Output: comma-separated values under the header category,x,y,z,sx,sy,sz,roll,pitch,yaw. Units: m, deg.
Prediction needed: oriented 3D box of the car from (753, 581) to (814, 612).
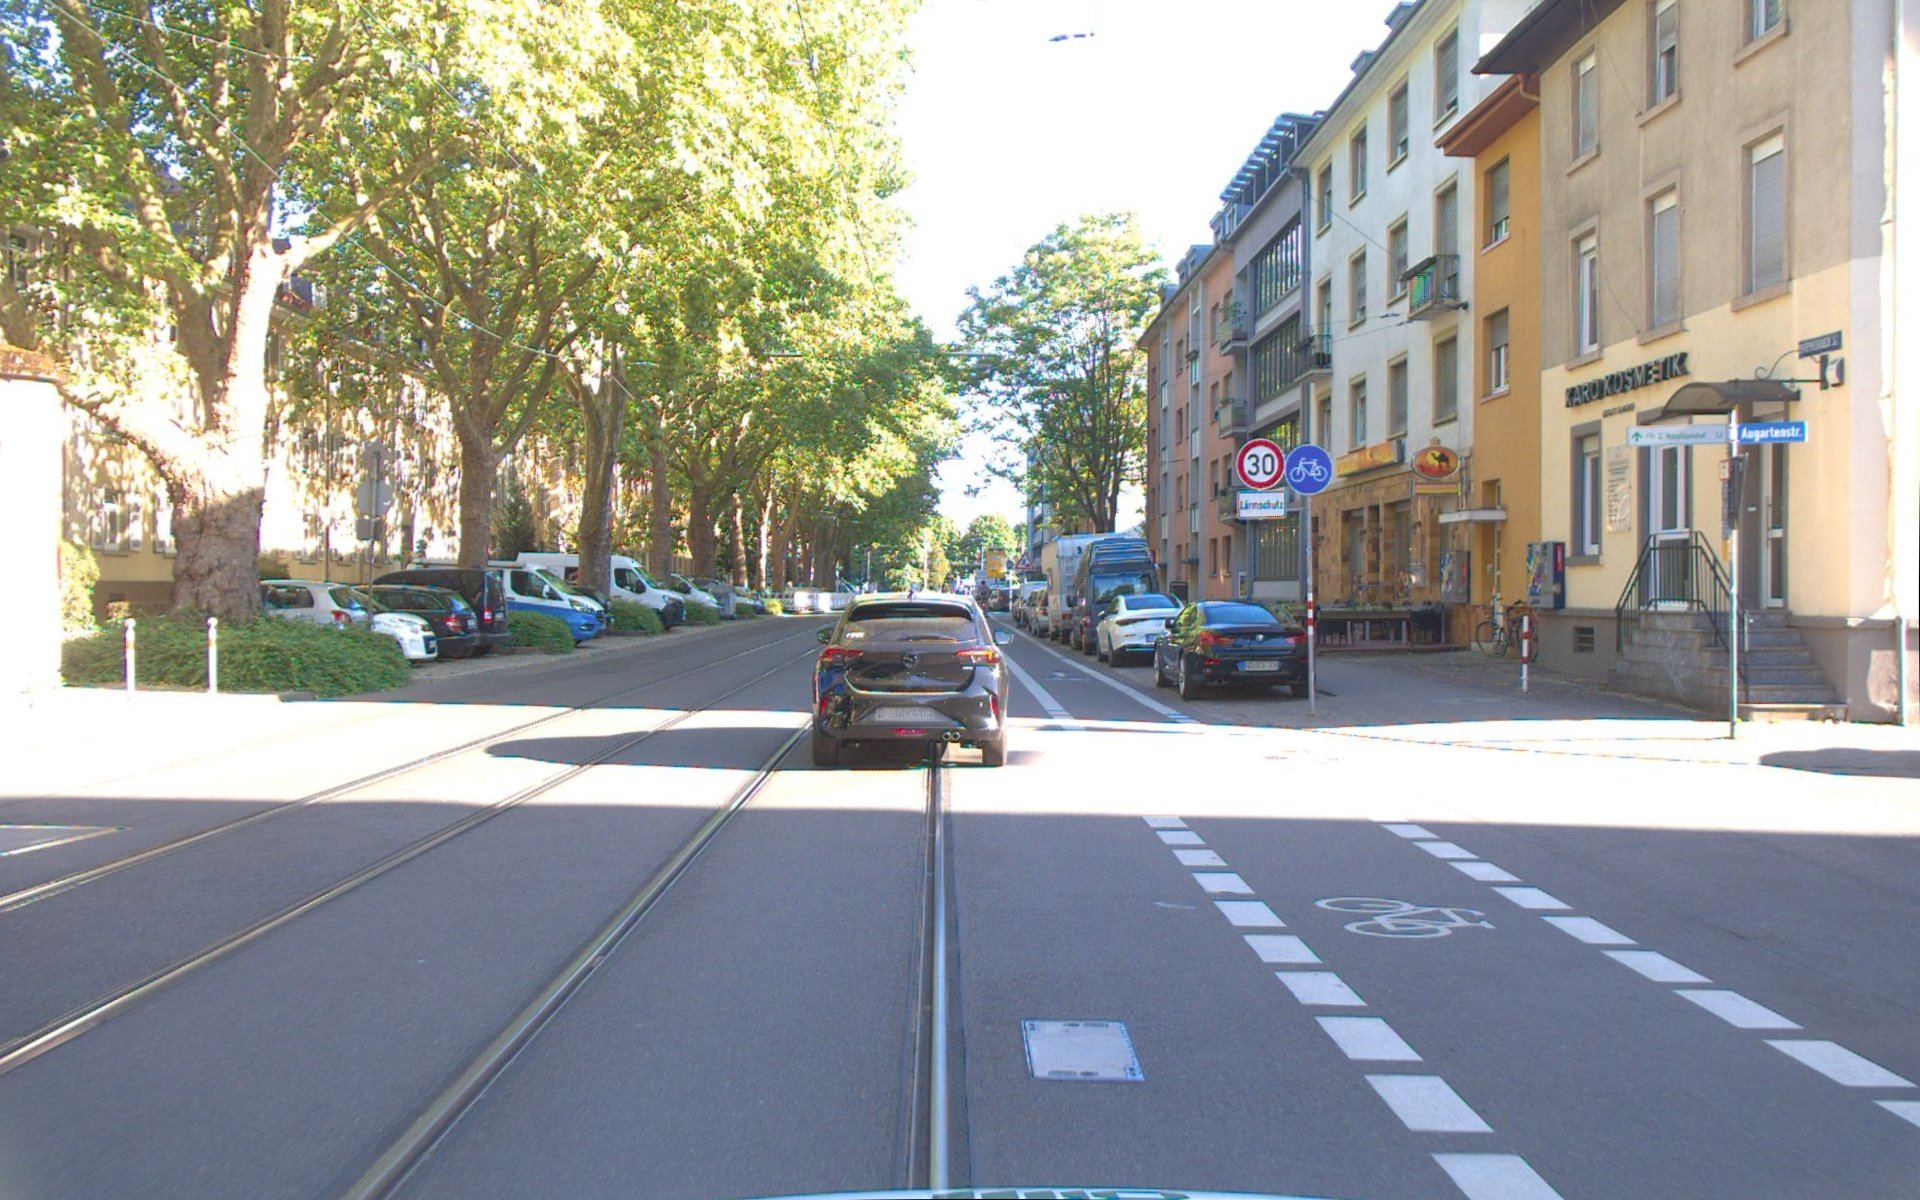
category,x,y,z,sx,sy,sz,roll,pitch,yaw
car,-12.396,-0.247,116.263,3.902,2.049,2.001,1,0,6

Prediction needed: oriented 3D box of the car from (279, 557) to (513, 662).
category,x,y,z,sx,sy,sz,roll,pitch,yaw
car,-11.586,0.179,34.242,4.220,1.872,1.779,-3,0,-8

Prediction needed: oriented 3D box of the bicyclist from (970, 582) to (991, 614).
category,x,y,z,sx,sy,sz,roll,pitch,yaw
bicyclist,0.990,-0.092,79.627,0.939,1.525,1.093,1,0,-2

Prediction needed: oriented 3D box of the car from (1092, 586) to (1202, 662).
category,x,y,z,sx,sy,sz,roll,pitch,yaw
car,3.842,0.498,34.587,1.767,1.459,3.999,-1,-1,-1

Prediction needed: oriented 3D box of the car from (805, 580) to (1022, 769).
category,x,y,z,sx,sy,sz,roll,pitch,yaw
car,-0.393,0.592,15.335,1.727,1.486,3.950,1,0,-1

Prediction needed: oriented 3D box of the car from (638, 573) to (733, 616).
category,x,y,z,sx,sy,sz,roll,pitch,yaw
car,-12.354,-0.259,74.534,4.100,1.825,1.996,1,0,-10

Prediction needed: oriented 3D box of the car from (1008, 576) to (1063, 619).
category,x,y,z,sx,sy,sz,roll,pitch,yaw
car,3.465,-0.132,76.646,2.208,1.873,5.530,-1,0,-1

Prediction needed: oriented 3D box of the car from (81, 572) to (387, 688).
category,x,y,z,sx,sy,sz,roll,pitch,yaw
car,-11.884,0.467,27.333,4.220,1.621,1.779,-3,0,-8

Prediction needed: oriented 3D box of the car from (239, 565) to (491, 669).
category,x,y,z,sx,sy,sz,roll,pitch,yaw
car,-11.393,0.307,31.917,4.220,1.703,1.779,-3,0,-8

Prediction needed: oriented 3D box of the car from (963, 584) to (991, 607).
category,x,y,z,sx,sy,sz,roll,pitch,yaw
car,1.368,-0.369,137.900,2.208,1.873,5.530,-1,0,-1

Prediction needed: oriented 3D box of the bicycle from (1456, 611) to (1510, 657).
category,x,y,z,sx,sy,sz,roll,pitch,yaw
bicycle,9.630,0.619,30.507,0.401,0.803,1.791,1,0,-1

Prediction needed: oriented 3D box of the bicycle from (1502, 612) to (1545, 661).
category,x,y,z,sx,sy,sz,roll,pitch,yaw
bicycle,9.980,0.632,29.331,0.464,0.803,1.793,1,0,11

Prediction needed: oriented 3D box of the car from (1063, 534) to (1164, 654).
category,x,y,z,sx,sy,sz,roll,pitch,yaw
car,3.806,-0.174,41.788,2.042,2.820,4.697,-1,1,-1

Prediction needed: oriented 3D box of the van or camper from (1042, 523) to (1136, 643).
category,x,y,z,sx,sy,sz,roll,pitch,yaw
van or camper,3.701,-0.492,48.351,2.208,3.272,5.530,-1,0,-1

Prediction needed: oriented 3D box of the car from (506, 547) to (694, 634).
category,x,y,z,sx,sy,sz,roll,pitch,yaw
car,-11.614,-0.306,53.653,5.521,2.638,2.197,1,0,3

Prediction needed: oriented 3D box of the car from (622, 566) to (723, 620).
category,x,y,z,sx,sy,sz,roll,pitch,yaw
car,-11.598,-0.276,66.799,3.914,2.049,1.996,1,0,-10

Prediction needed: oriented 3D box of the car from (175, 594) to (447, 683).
category,x,y,z,sx,sy,sz,roll,pitch,yaw
car,-11.624,0.664,29.881,4.220,1.313,1.707,-3,0,-8

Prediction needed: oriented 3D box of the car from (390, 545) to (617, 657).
category,x,y,z,sx,sy,sz,roll,pitch,yaw
car,-11.226,0.015,40.945,4.934,2.415,2.081,-3,0,-1

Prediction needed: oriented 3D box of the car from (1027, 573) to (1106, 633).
category,x,y,z,sx,sy,sz,roll,pitch,yaw
car,3.515,0.093,55.548,2.208,1.873,5.530,-1,0,-1

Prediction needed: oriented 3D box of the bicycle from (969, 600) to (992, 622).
category,x,y,z,sx,sy,sz,roll,pitch,yaw
bicycle,0.989,0.526,79.648,0.948,1.016,2.582,1,0,-2

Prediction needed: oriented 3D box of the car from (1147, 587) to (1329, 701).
category,x,y,z,sx,sy,sz,roll,pitch,yaw
car,3.995,0.578,24.494,1.846,1.459,4.529,-2,0,-1

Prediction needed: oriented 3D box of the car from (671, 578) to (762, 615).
category,x,y,z,sx,sy,sz,roll,pitch,yaw
car,-11.789,-0.184,79.963,4.275,1.694,1.996,1,0,-10

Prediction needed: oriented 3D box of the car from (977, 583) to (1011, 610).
category,x,y,z,sx,sy,sz,roll,pitch,yaw
car,2.401,-0.249,118.583,2.208,1.873,5.530,-1,0,-1
